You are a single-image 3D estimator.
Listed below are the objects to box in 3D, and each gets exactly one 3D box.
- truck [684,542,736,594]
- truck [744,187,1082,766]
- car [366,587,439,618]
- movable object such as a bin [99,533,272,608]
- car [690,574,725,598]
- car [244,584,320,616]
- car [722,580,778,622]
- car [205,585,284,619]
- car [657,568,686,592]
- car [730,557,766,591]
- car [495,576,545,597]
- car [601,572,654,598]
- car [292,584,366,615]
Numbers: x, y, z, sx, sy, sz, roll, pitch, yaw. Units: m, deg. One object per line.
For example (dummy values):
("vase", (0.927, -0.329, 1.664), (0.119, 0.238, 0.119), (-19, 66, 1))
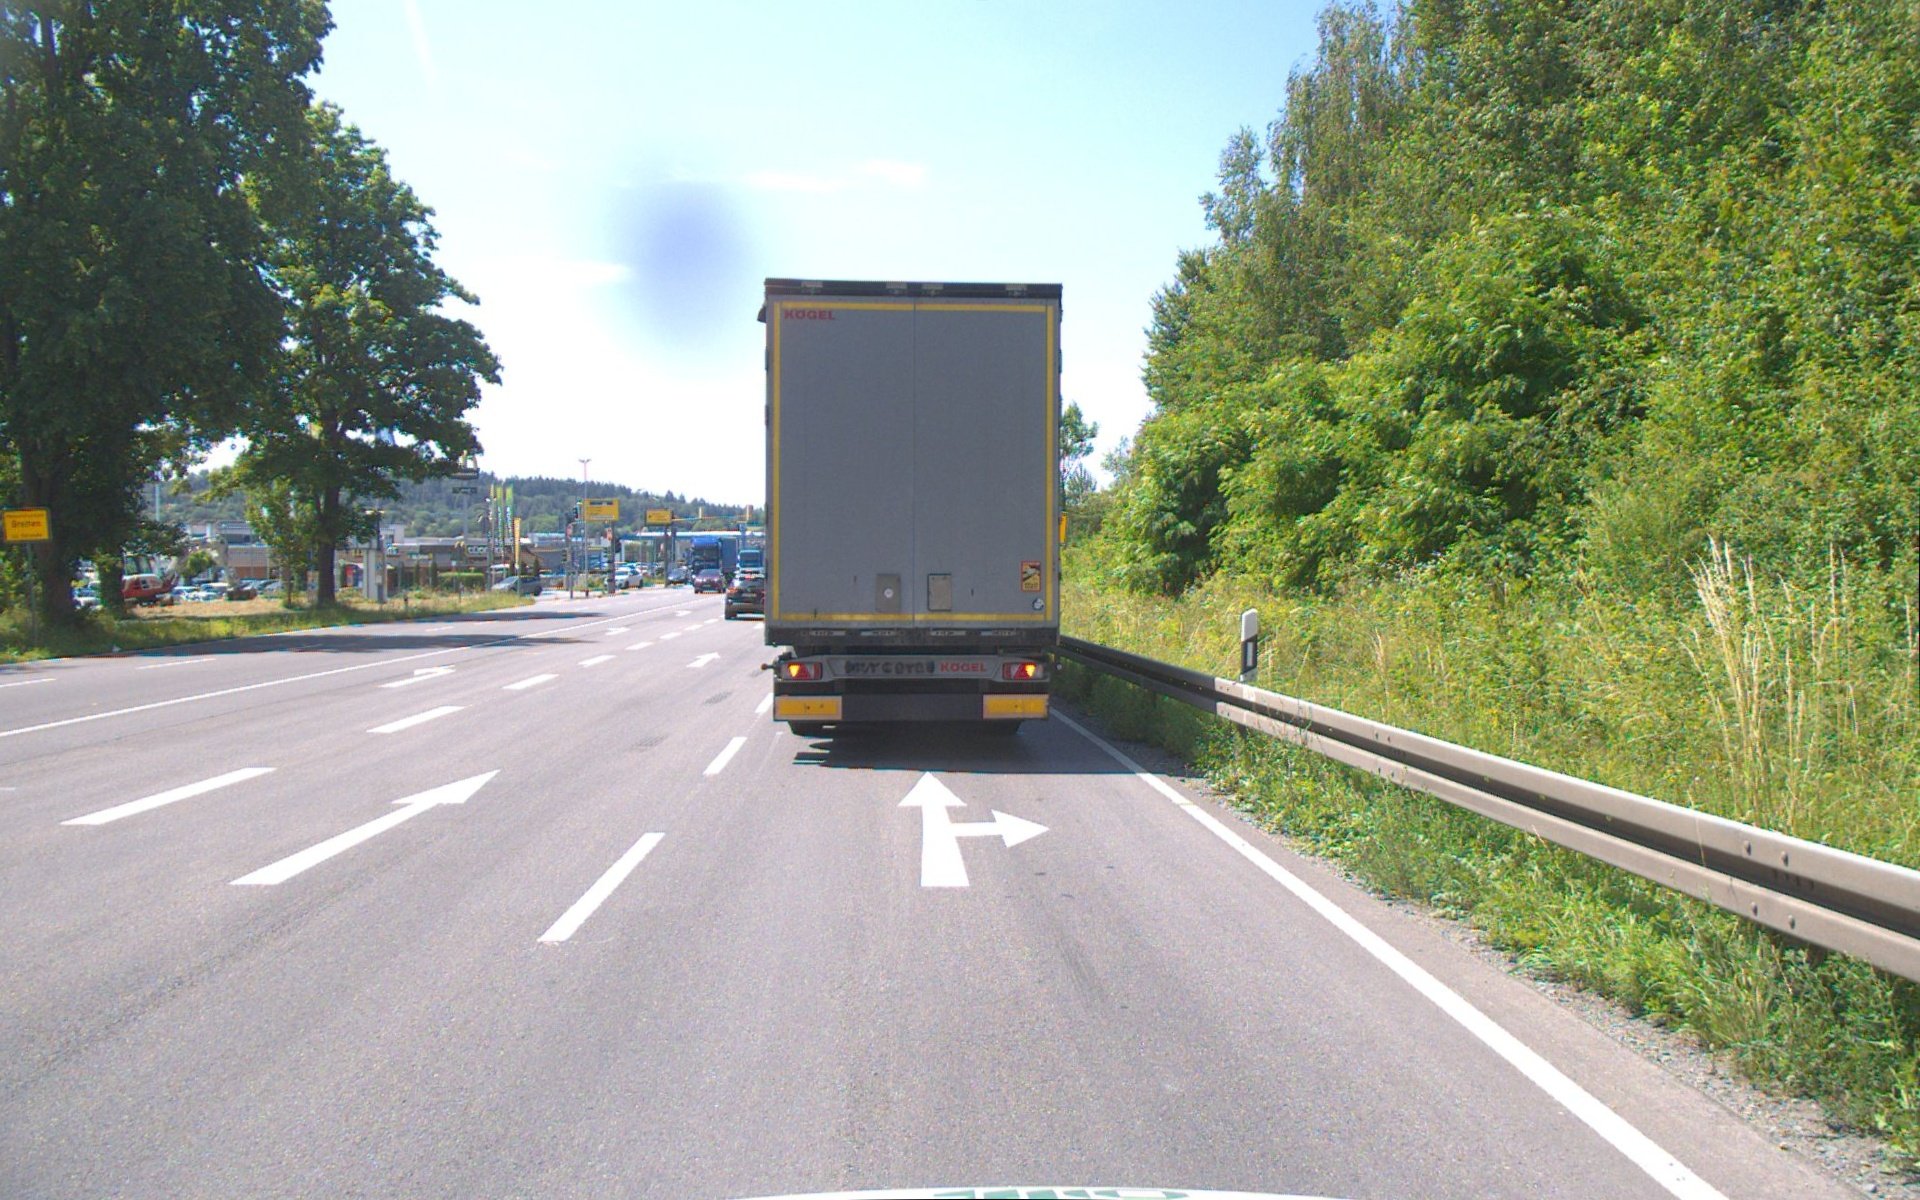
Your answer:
("truck", (-21.653, -2.715, 143.954), (2.909, 4.249, 16.564), (0, 1, -3))
("truck", (-0.698, -1.006, 21.946), (2.700, 4.720, 16.647), (1, 0, -2))
("car", (-30.628, 0.123, 90.868), (3.918, 1.646, 1.834), (1, 1, 34))
("movable object such as a bin", (-36.336, -1.411, 77.794), (2.993, 3.356, 6.764), (0, 1, 37))
("car", (-16.812, -0.954, 110.145), (1.865, 1.535, 3.763), (0, 1, -2))
("car", (-35.697, -0.017, 87.045), (3.918, 1.646, 1.834), (1, 1, 34))
("car", (-7.203, 0.032, 56.847), (1.497, 1.364, 3.330), (1, 0, -1))
("car", (-36.823, 0.089, 85.115), (3.918, 1.680, 1.994), (1, 1, 34))
("car", (-25.883, -1.779, 148.553), (1.953, 2.049, 3.999), (1, 0, -1))
("car", (-13.525, -1.641, 105.540), (1.954, 2.049, 3.998), (1, 1, -3))
("car", (-35.135, -1.057, 132.168), (1.849, 1.617, 4.137), (1, 0, 19))
("car", (-26.894, -1.240, 133.908), (1.958, 2.049, 3.989), (1, 1, 33))
("car", (-34.065, -0.051, 89.275), (3.918, 1.646, 1.834), (1, 1, 34))
